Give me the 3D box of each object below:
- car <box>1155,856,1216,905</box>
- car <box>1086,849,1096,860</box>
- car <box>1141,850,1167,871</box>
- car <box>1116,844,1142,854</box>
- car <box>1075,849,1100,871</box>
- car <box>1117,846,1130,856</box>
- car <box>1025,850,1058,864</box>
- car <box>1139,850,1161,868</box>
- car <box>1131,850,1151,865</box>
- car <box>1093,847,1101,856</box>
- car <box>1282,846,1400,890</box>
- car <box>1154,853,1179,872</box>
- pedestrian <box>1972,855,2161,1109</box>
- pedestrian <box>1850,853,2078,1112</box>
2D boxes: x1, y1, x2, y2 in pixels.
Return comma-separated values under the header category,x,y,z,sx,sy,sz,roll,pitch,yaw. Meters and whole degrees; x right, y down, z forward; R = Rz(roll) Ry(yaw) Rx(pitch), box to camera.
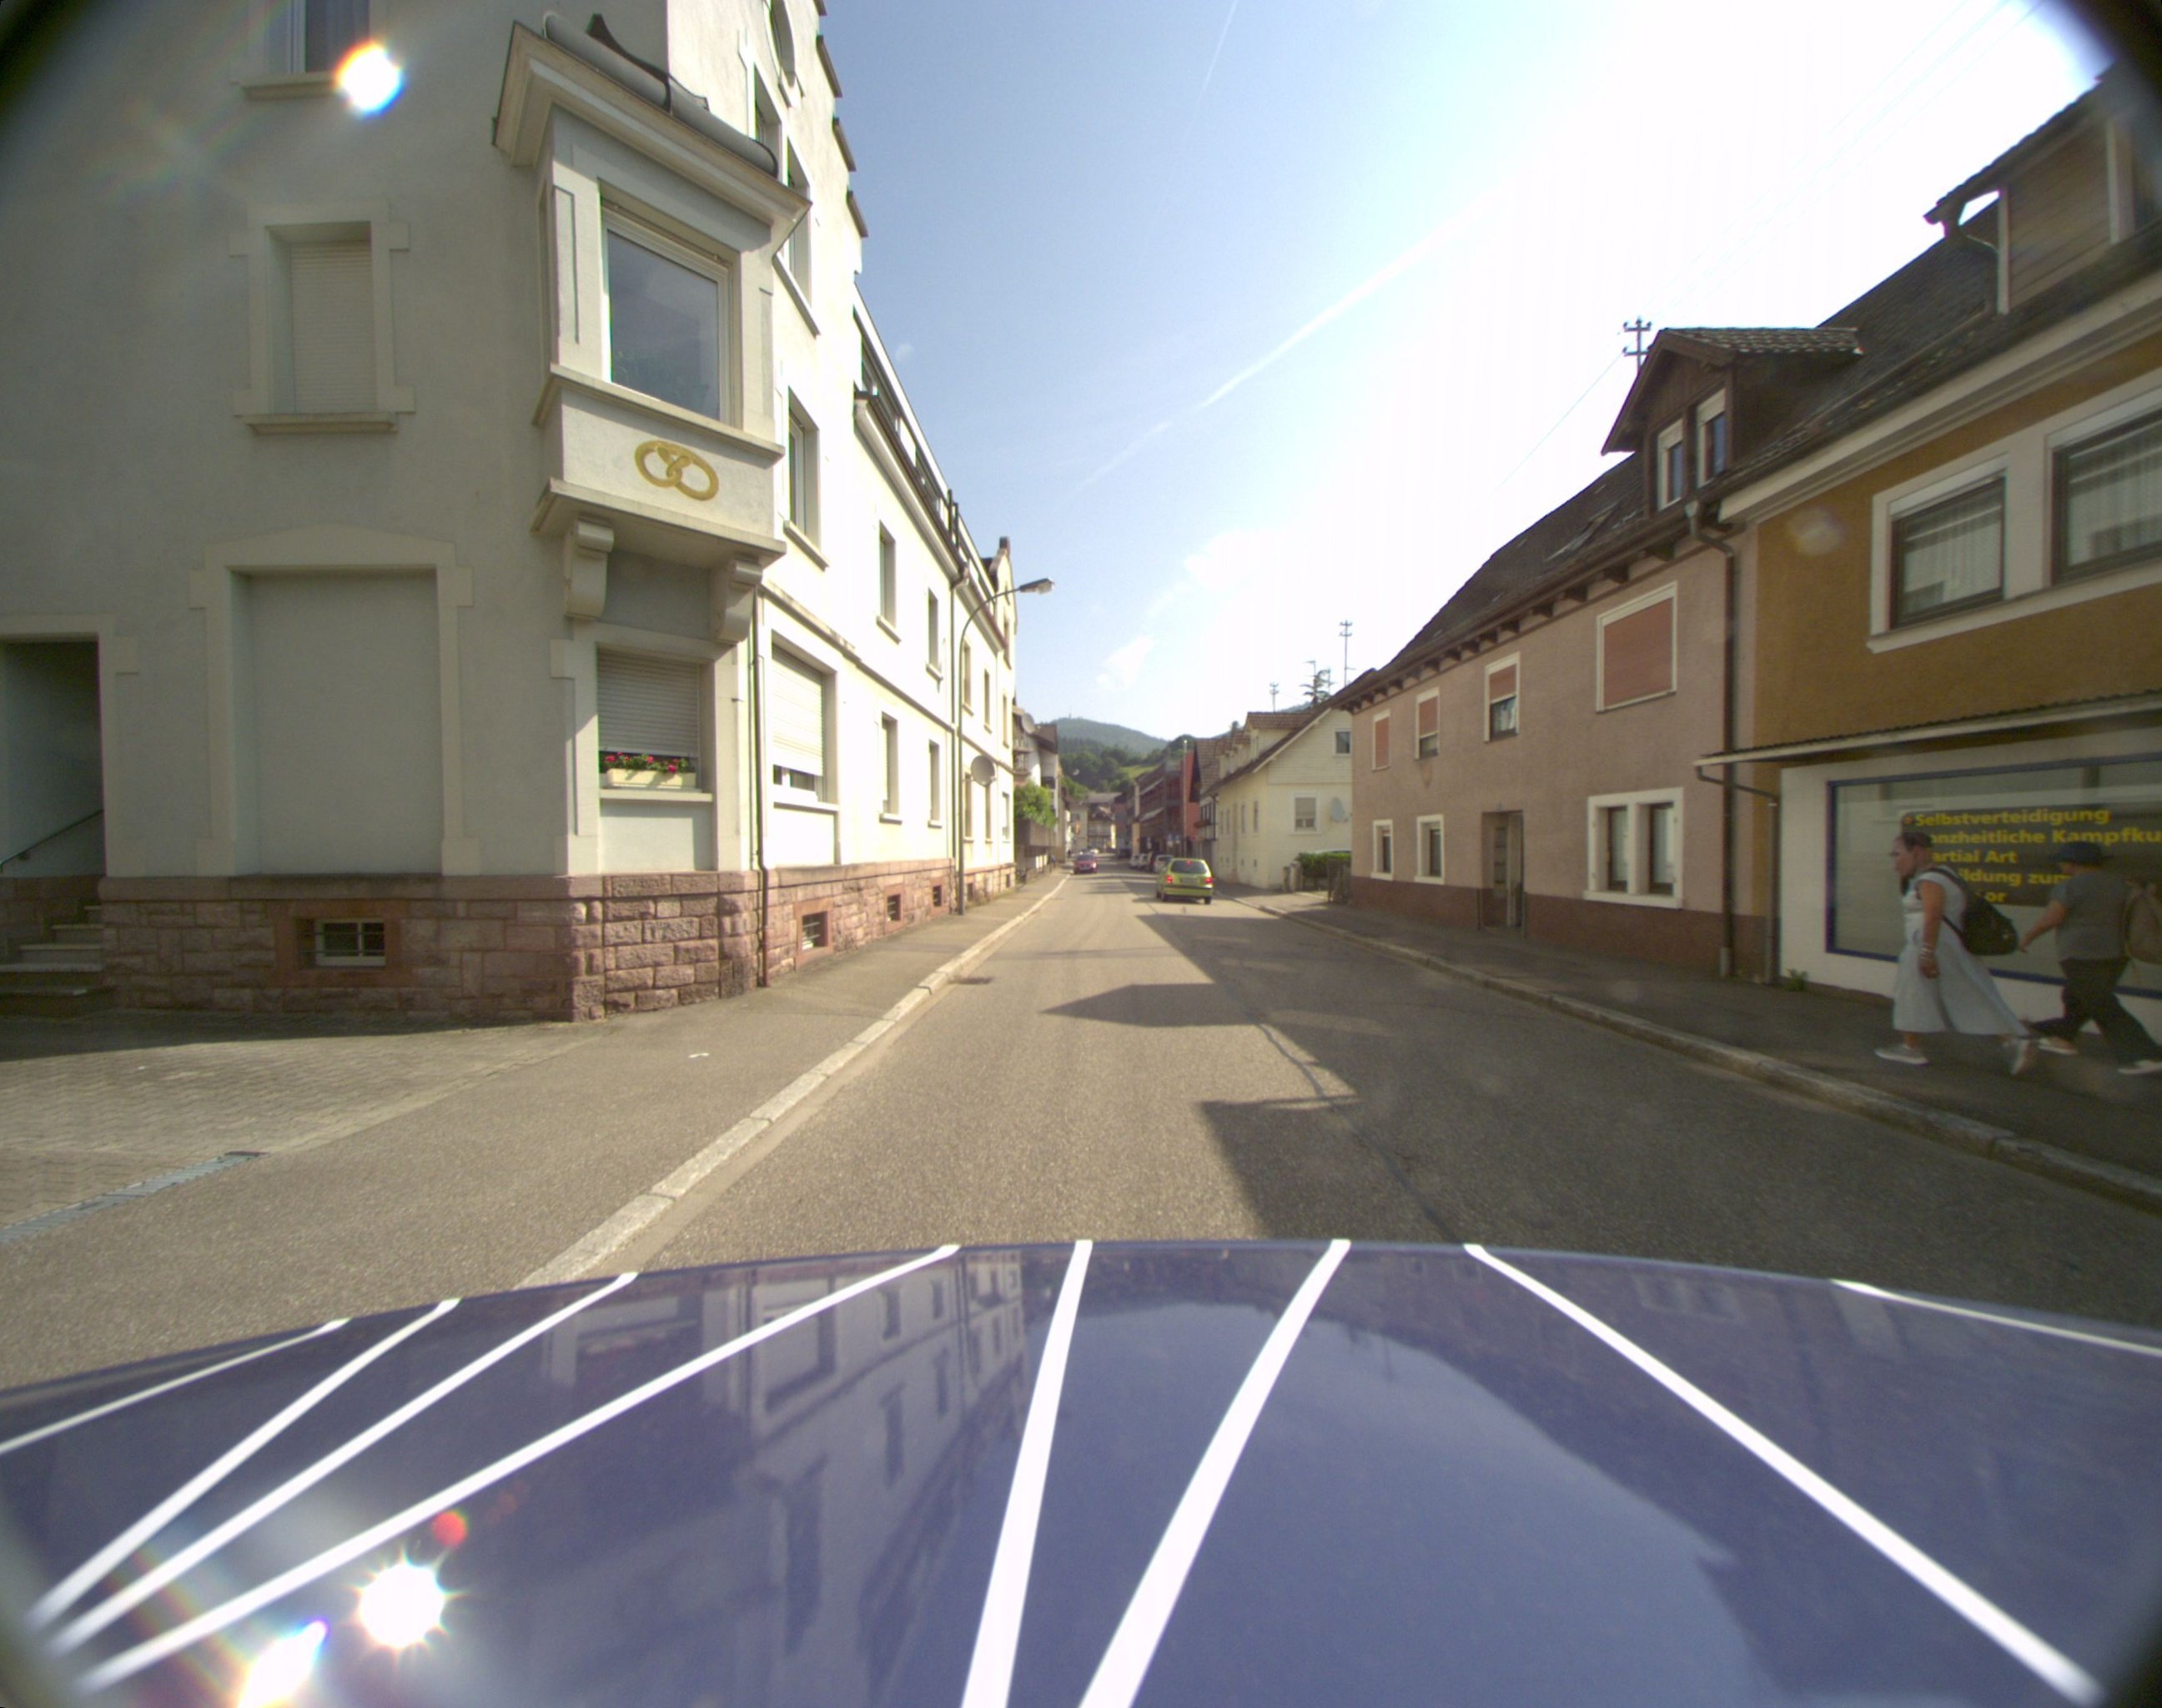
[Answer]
category,x,y,z,sx,sy,sz,roll,pitch,yaw
car,3.526,0.871,26.188,1.600,1.456,3.659,3,0,1
car,1.915,0.045,144.732,1.998,2.002,3.999,-2,1,1
car,6.435,0.509,67.017,1.724,1.786,4.268,-1,0,-2
car,8.193,-0.860,130.013,4.000,1.674,1.834,0,-1,-8
car,0.456,0.459,59.567,1.822,1.652,4.000,0,-1,-1
car,6.757,-0.473,121.261,1.787,1.566,3.888,-3,1,-1
car,-4.639,0.319,89.267,3.837,1.470,1.700,-2,0,-2
car,6.602,0.462,72.740,1.679,1.580,3.948,-1,0,-1
car,6.246,0.371,79.424,1.678,1.546,3.764,-1,0,-1
car,3.739,-0.662,174.941,1.742,2.002,3.840,-1,0,2
car,10.206,0.536,30.018,3.997,1.584,1.907,-2,1,-2
car,6.938,0.661,61.765,1.670,1.423,3.569,-2,0,1
pedestrian,6.906,0.801,5.147,0.736,1.555,0.824,-2,1,1
pedestrian,5.914,0.808,5.140,0.641,1.617,0.777,-1,1,2
